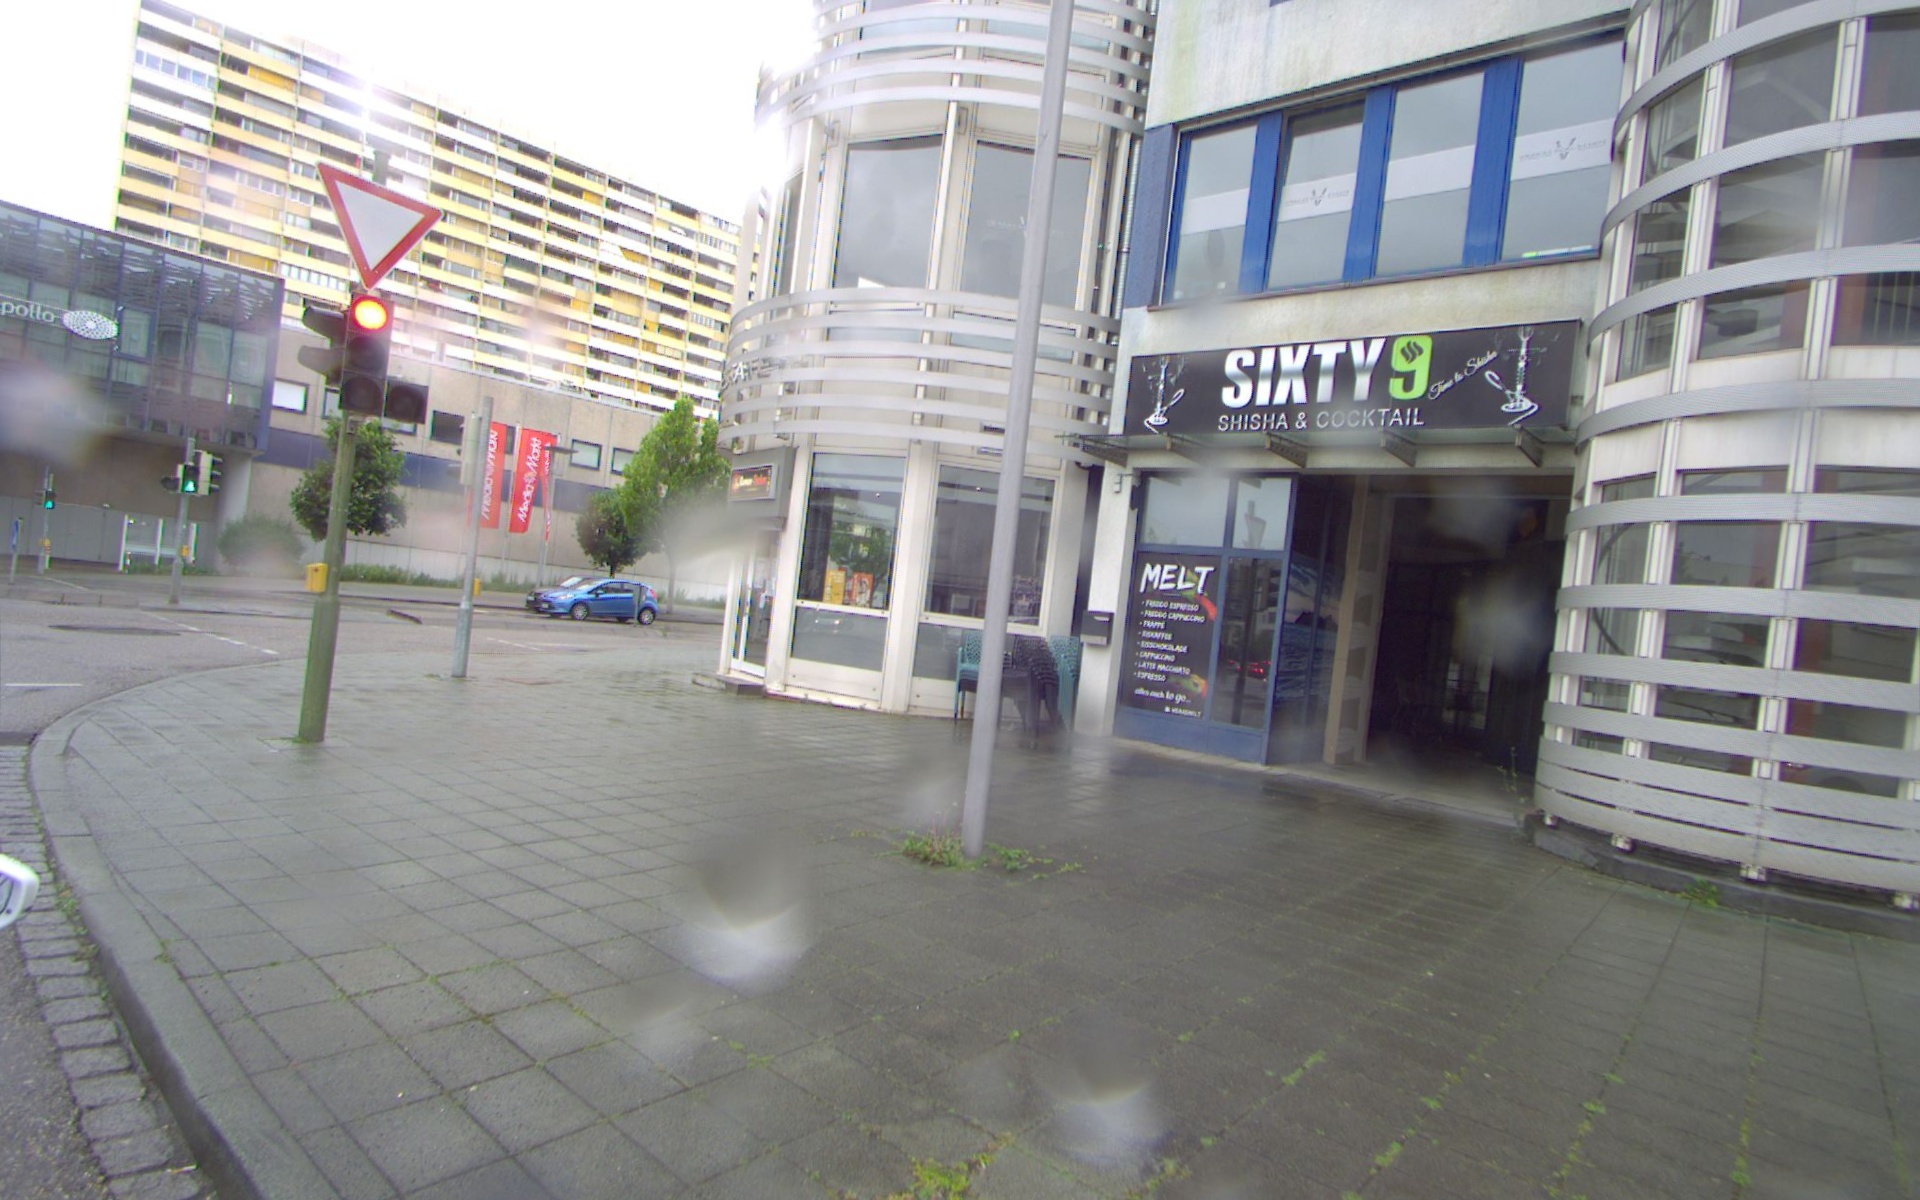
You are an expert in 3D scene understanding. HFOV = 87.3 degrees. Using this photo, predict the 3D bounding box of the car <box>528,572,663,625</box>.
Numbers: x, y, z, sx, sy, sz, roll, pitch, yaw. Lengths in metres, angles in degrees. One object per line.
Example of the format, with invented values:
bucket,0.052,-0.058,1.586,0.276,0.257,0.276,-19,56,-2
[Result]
car,-12.054,-0.020,33.412,1.655,1.415,3.837,5,0,40

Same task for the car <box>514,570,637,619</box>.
car,-13.739,-0.186,36.064,1.720,1.412,3.677,5,0,41
